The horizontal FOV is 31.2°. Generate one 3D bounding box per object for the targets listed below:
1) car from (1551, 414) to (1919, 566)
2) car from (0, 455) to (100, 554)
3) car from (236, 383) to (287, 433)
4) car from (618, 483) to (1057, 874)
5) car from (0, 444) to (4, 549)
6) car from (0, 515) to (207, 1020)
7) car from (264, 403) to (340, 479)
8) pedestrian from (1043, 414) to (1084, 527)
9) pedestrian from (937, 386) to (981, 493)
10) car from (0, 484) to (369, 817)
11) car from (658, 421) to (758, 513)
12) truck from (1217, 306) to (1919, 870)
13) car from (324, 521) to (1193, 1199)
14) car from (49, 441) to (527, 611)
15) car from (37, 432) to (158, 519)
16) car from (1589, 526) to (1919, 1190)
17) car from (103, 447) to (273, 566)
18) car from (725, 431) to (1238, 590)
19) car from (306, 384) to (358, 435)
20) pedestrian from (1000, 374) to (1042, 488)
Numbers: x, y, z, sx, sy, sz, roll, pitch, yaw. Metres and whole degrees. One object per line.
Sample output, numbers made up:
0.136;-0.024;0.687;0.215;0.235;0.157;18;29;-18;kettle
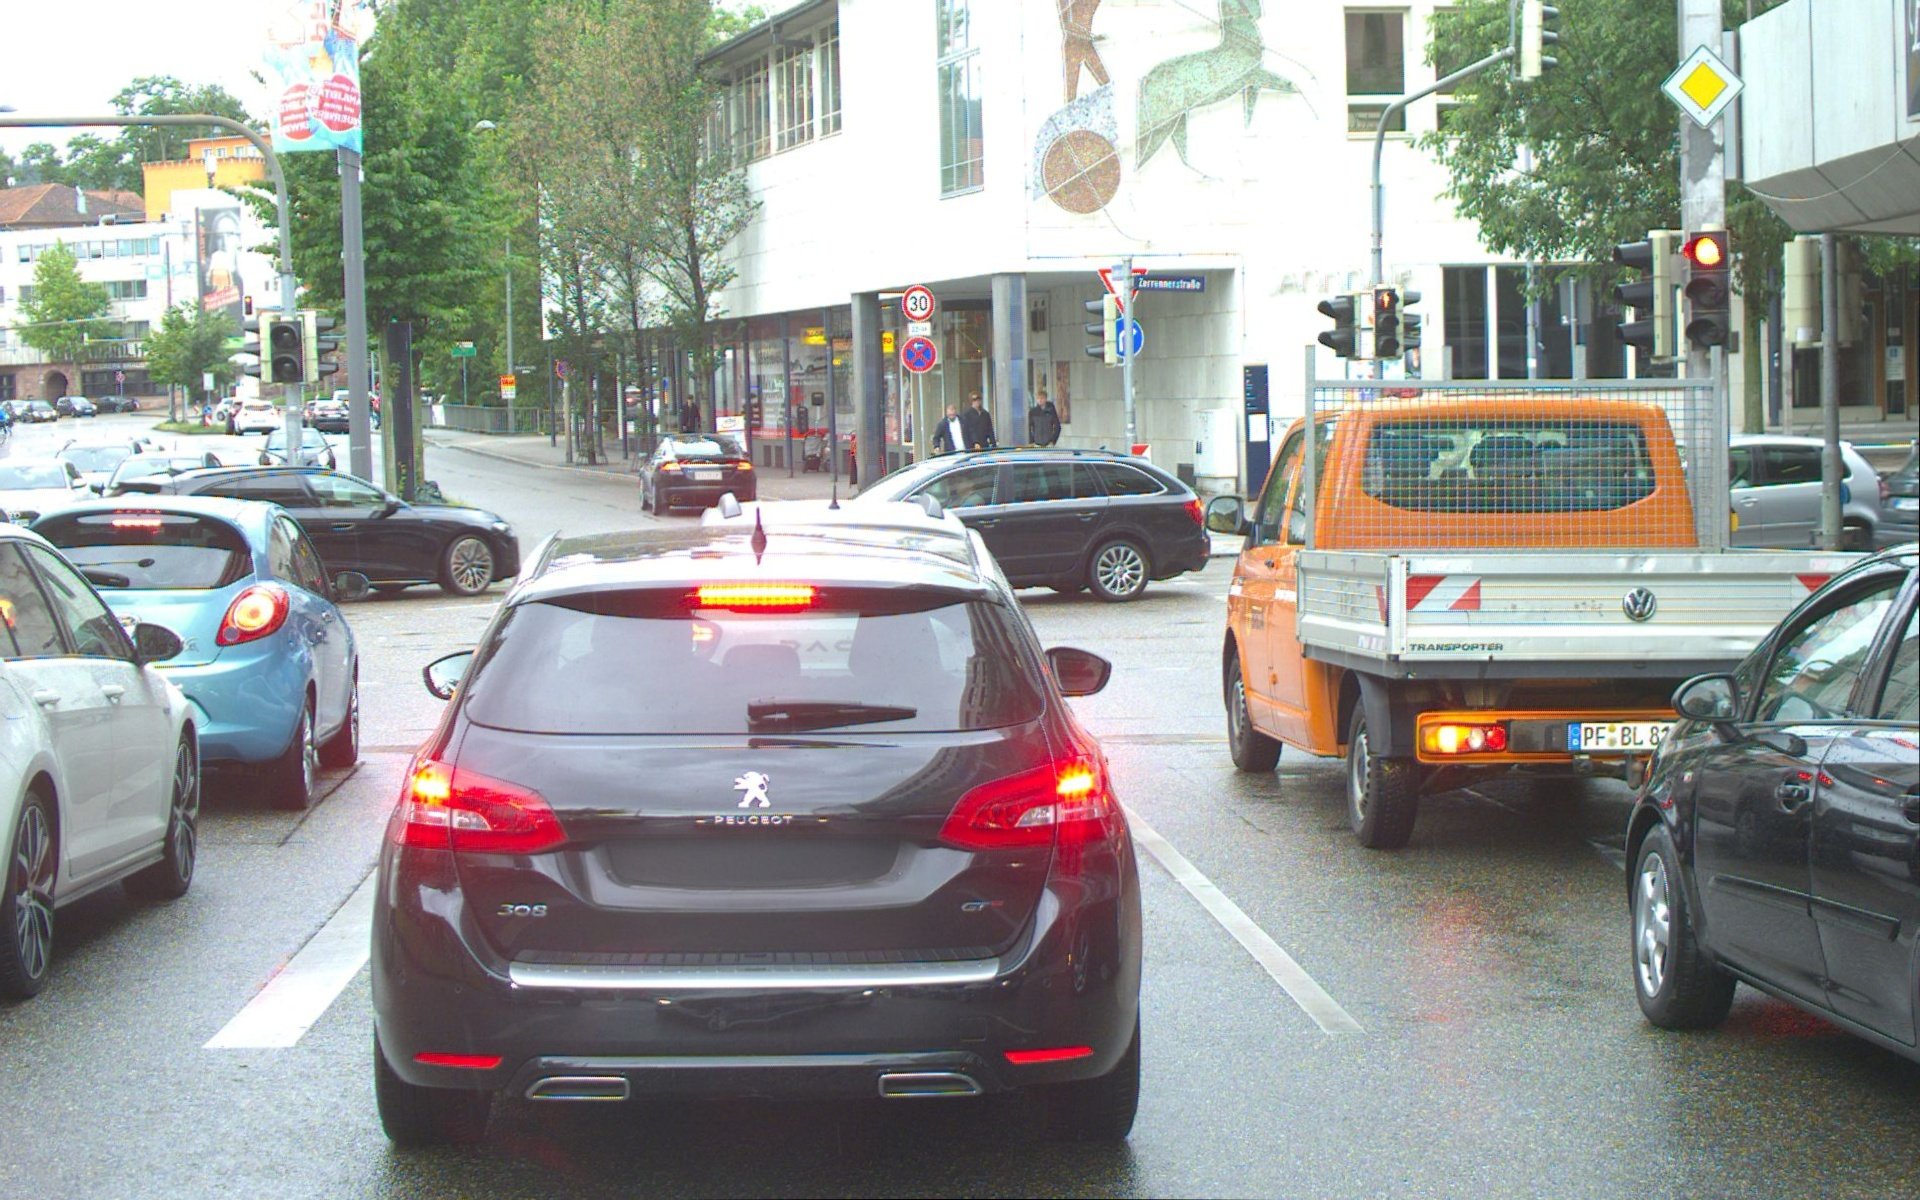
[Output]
8.293;-1.119;35.749;3.894;1.481;1.624;0;0;-12;car
-14.578;-1.524;53.961;1.632;1.481;3.611;0;2;-7;car
-29.691;-8.125;146.012;1.705;1.875;4.001;1;0;-18;car
-0.505;0.242;15.284;1.696;1.481;3.794;1;2;-1;car
-14.240;-1.406;46.946;1.574;1.481;3.610;0;2;-4;car
-3.734;0.446;11.446;1.777;1.424;3.843;0;2;-3;car
-15.808;-3.799;82.575;1.744;1.634;4.001;1;0;-11;car
1.762;-2.190;58.442;0.637;1.891;0.733;0;0;6;pedestrian
-0.016;-2.682;57.590;0.637;1.752;0.733;0;0;6;pedestrian
-3.974;0.175;17.468;1.632;1.481;3.610;0;2;-5;car
-4.658;-2.404;62.995;1.724;1.485;4.734;1;0;-5;car
2.582;-0.144;15.804;2.177;2.165;5.021;1;2;-3;truck
-0.494;0.531;9.000;1.777;1.424;3.843;0;2;-2;car
-6.933;-0.810;35.744;4.494;1.449;1.792;-6;5;-38;car
-15.319;-2.225;61.214;1.632;1.481;3.611;0;2;-7;car
2.855;0.553;8.638;1.616;1.424;3.843;0;2;-3;car
-10.926;-1.295;48.891;1.744;1.574;4.000;1;0;-4;car
0.205;-0.877;33.551;4.721;1.481;1.639;0;2;-19;car
-26.874;-8.143;147.071;1.705;1.929;4.001;1;0;-18;car
1.038;-2.870;58.509;0.637;1.891;0.733;0;0;6;pedestrian
